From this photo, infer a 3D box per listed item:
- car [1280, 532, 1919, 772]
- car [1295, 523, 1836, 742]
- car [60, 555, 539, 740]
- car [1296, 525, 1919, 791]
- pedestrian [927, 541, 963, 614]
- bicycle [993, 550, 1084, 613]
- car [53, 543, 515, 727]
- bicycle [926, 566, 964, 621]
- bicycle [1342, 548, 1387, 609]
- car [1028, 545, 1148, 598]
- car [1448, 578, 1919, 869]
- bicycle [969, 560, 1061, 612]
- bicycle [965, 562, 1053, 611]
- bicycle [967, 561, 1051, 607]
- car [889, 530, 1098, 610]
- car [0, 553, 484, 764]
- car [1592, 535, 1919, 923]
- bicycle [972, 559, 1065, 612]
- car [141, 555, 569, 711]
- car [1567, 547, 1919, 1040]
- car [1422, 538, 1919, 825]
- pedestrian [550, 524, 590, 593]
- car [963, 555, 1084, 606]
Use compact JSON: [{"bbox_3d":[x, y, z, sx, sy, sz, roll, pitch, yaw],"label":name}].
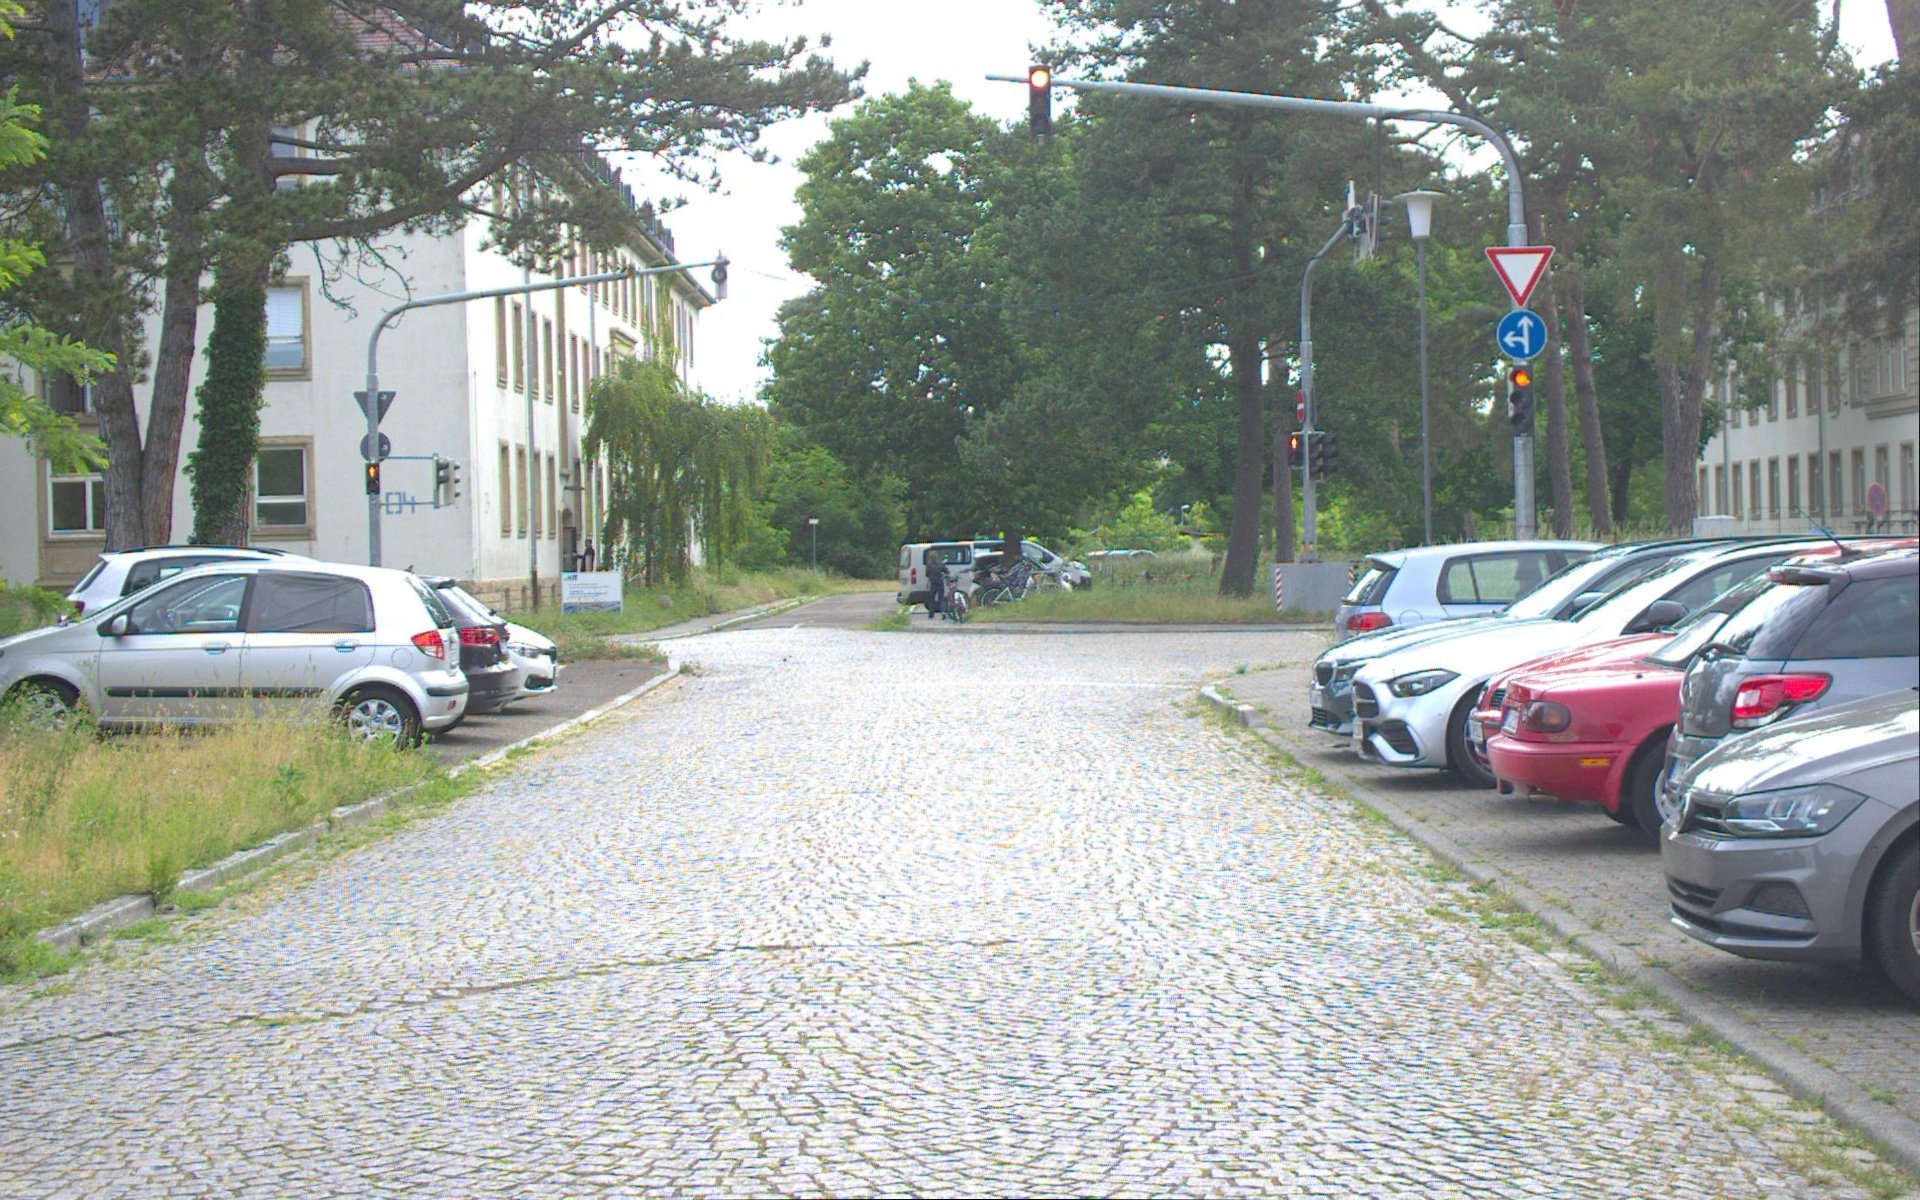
[{"bbox_3d":[4.773,0.339,24.590,4.680,1.412,1.871,-3,1,-2],"label":"car"},{"bbox_3d":[4.693,0.236,27.041,3.927,1.472,1.642,-3,1,2],"label":"car"},{"bbox_3d":[-5.496,0.378,28.918,3.745,1.424,1.583,1,1,-3],"label":"car"},{"bbox_3d":[4.554,0.317,21.904,4.421,1.412,1.871,-3,1,-9],"label":"car"},{"bbox_3d":[-0.334,-0.498,76.995,0.738,1.613,0.776,-1,1,1],"label":"pedestrian"},{"bbox_3d":[1.764,-0.413,77.374,1.954,1.379,0.588,-1,1,-6],"label":"bicycle"},{"bbox_3d":[-6.170,0.308,31.702,3.947,1.558,1.650,1,1,-3],"label":"car"},{"bbox_3d":[-0.316,-0.154,72.732,0.603,1.129,1.962,-1,1,-6],"label":"bicycle"},{"bbox_3d":[7.490,-0.410,63.750,0.586,1.102,1.961,-1,1,0],"label":"bicycle"},{"bbox_3d":[3.632,-0.826,97.858,3.231,1.411,1.725,-1,1,-2],"label":"car"},{"bbox_3d":[4.527,0.544,17.151,3.862,1.232,1.758,-3,1,-1],"label":"car"},{"bbox_3d":[1.225,-0.312,76.548,1.954,1.113,0.588,-1,1,-6],"label":"bicycle"},{"bbox_3d":[1.118,-0.306,78.033,1.955,1.066,0.588,-2,1,-29],"label":"bicycle"},{"bbox_3d":[1.187,-0.387,83.068,1.954,1.066,0.588,-2,1,-24],"label":"bicycle"},{"bbox_3d":[0.898,-0.835,93.999,5.359,1.918,2.025,-3,1,-9],"label":"car"},{"bbox_3d":[-5.594,0.427,26.321,3.702,1.474,1.583,1,1,-3],"label":"car"},{"bbox_3d":[4.806,0.434,14.523,3.862,1.467,1.758,-3,1,-1],"label":"car"},{"bbox_3d":[1.289,-0.327,75.914,1.954,1.129,0.588,-1,1,-6],"label":"bicycle"},{"bbox_3d":[-5.971,0.309,34.243,3.947,1.416,1.650,1,1,0],"label":"car"},{"bbox_3d":[4.206,0.521,11.656,3.862,1.467,1.758,-3,1,-3],"label":"car"},{"bbox_3d":[4.928,0.393,19.633,4.262,1.412,1.871,-3,1,0],"label":"car"},{"bbox_3d":[-10.412,-1.102,91.741,0.774,1.831,0.741,-2,1,-31],"label":"pedestrian"},{"bbox_3d":[1.665,-0.528,90.619,3.005,1.264,1.535,-1,1,-5],"label":"car"}]
